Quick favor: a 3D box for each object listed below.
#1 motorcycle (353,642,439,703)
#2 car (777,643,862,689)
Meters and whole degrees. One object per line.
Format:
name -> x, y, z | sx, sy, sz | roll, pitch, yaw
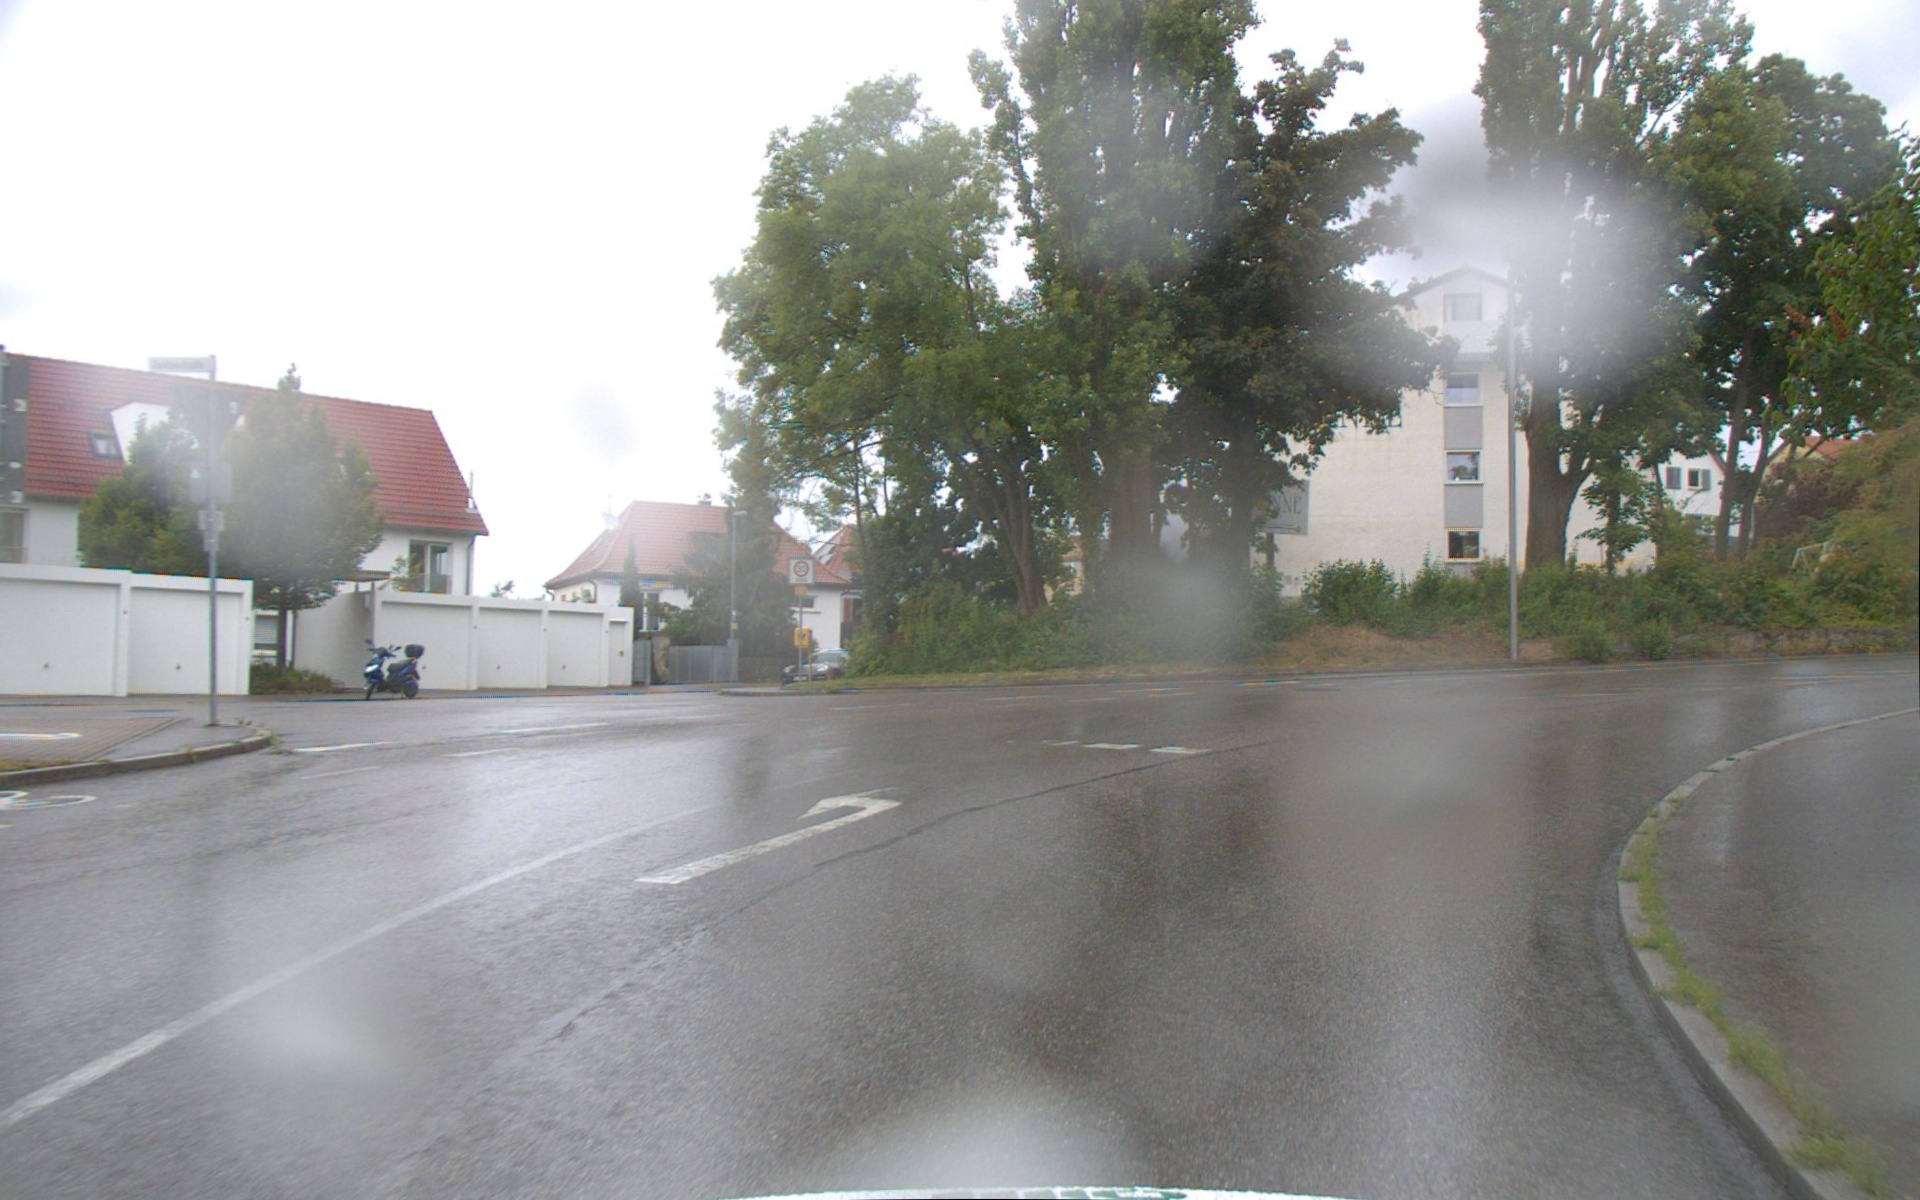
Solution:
motorcycle -> -13.017, 1.654, 38.235 | 0.692, 1.345, 2.045 | -1, -1, 24
car -> -5.070, 2.365, 60.053 | 1.951, 1.534, 4.003 | -1, -1, 13
